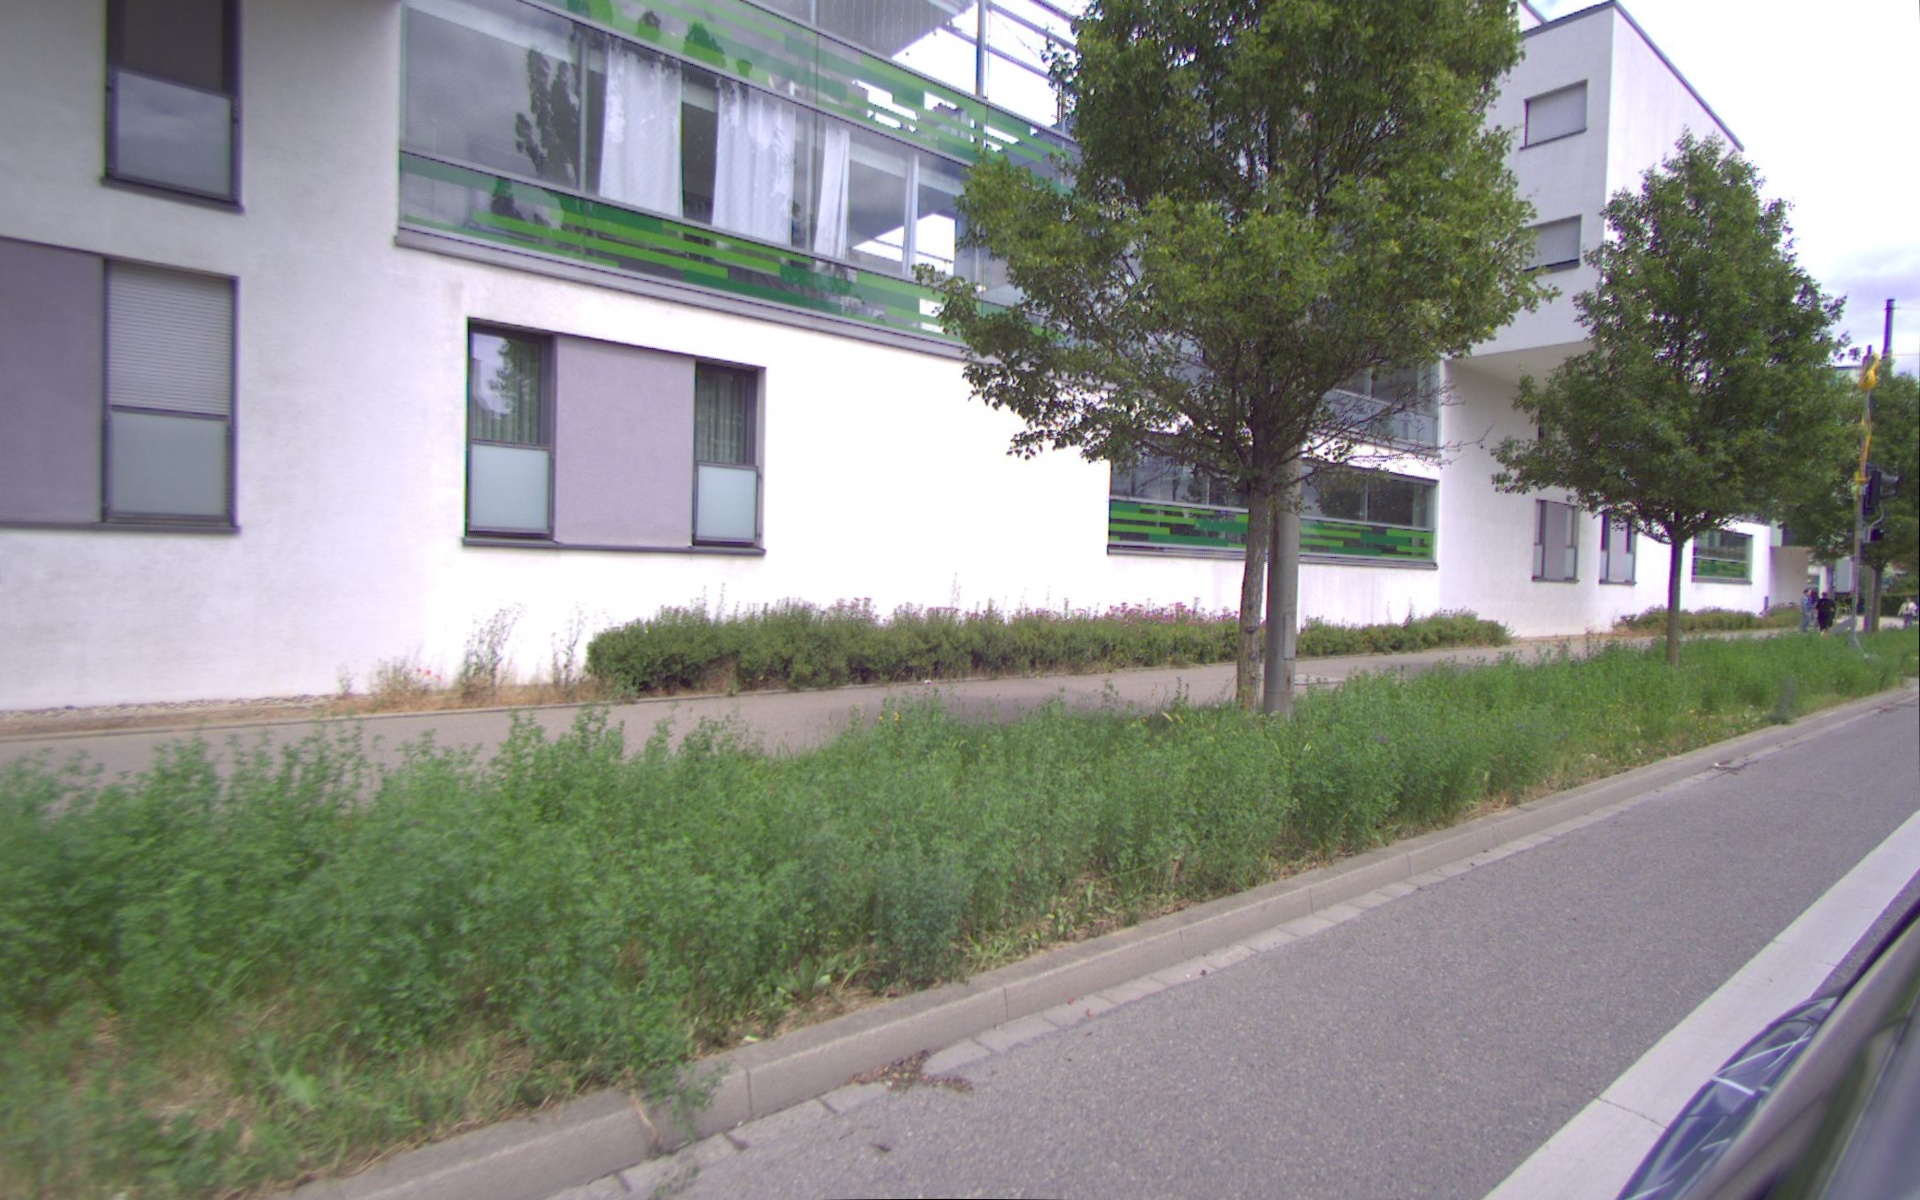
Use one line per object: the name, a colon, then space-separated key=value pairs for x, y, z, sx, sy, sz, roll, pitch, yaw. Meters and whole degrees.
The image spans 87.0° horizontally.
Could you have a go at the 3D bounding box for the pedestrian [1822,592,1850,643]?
pedestrian: x=33.214 y=0.636 z=38.365 sx=0.690 sy=1.910 sz=0.741 roll=0 pitch=0 yaw=-43

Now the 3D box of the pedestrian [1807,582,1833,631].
pedestrian: x=33.123 y=0.261 z=38.982 sx=0.613 sy=1.864 sz=0.584 roll=0 pitch=0 yaw=23

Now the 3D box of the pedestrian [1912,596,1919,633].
pedestrian: x=44.379 y=0.675 z=46.726 sx=0.596 sy=1.679 sz=0.559 roll=0 pitch=0 yaw=-41
